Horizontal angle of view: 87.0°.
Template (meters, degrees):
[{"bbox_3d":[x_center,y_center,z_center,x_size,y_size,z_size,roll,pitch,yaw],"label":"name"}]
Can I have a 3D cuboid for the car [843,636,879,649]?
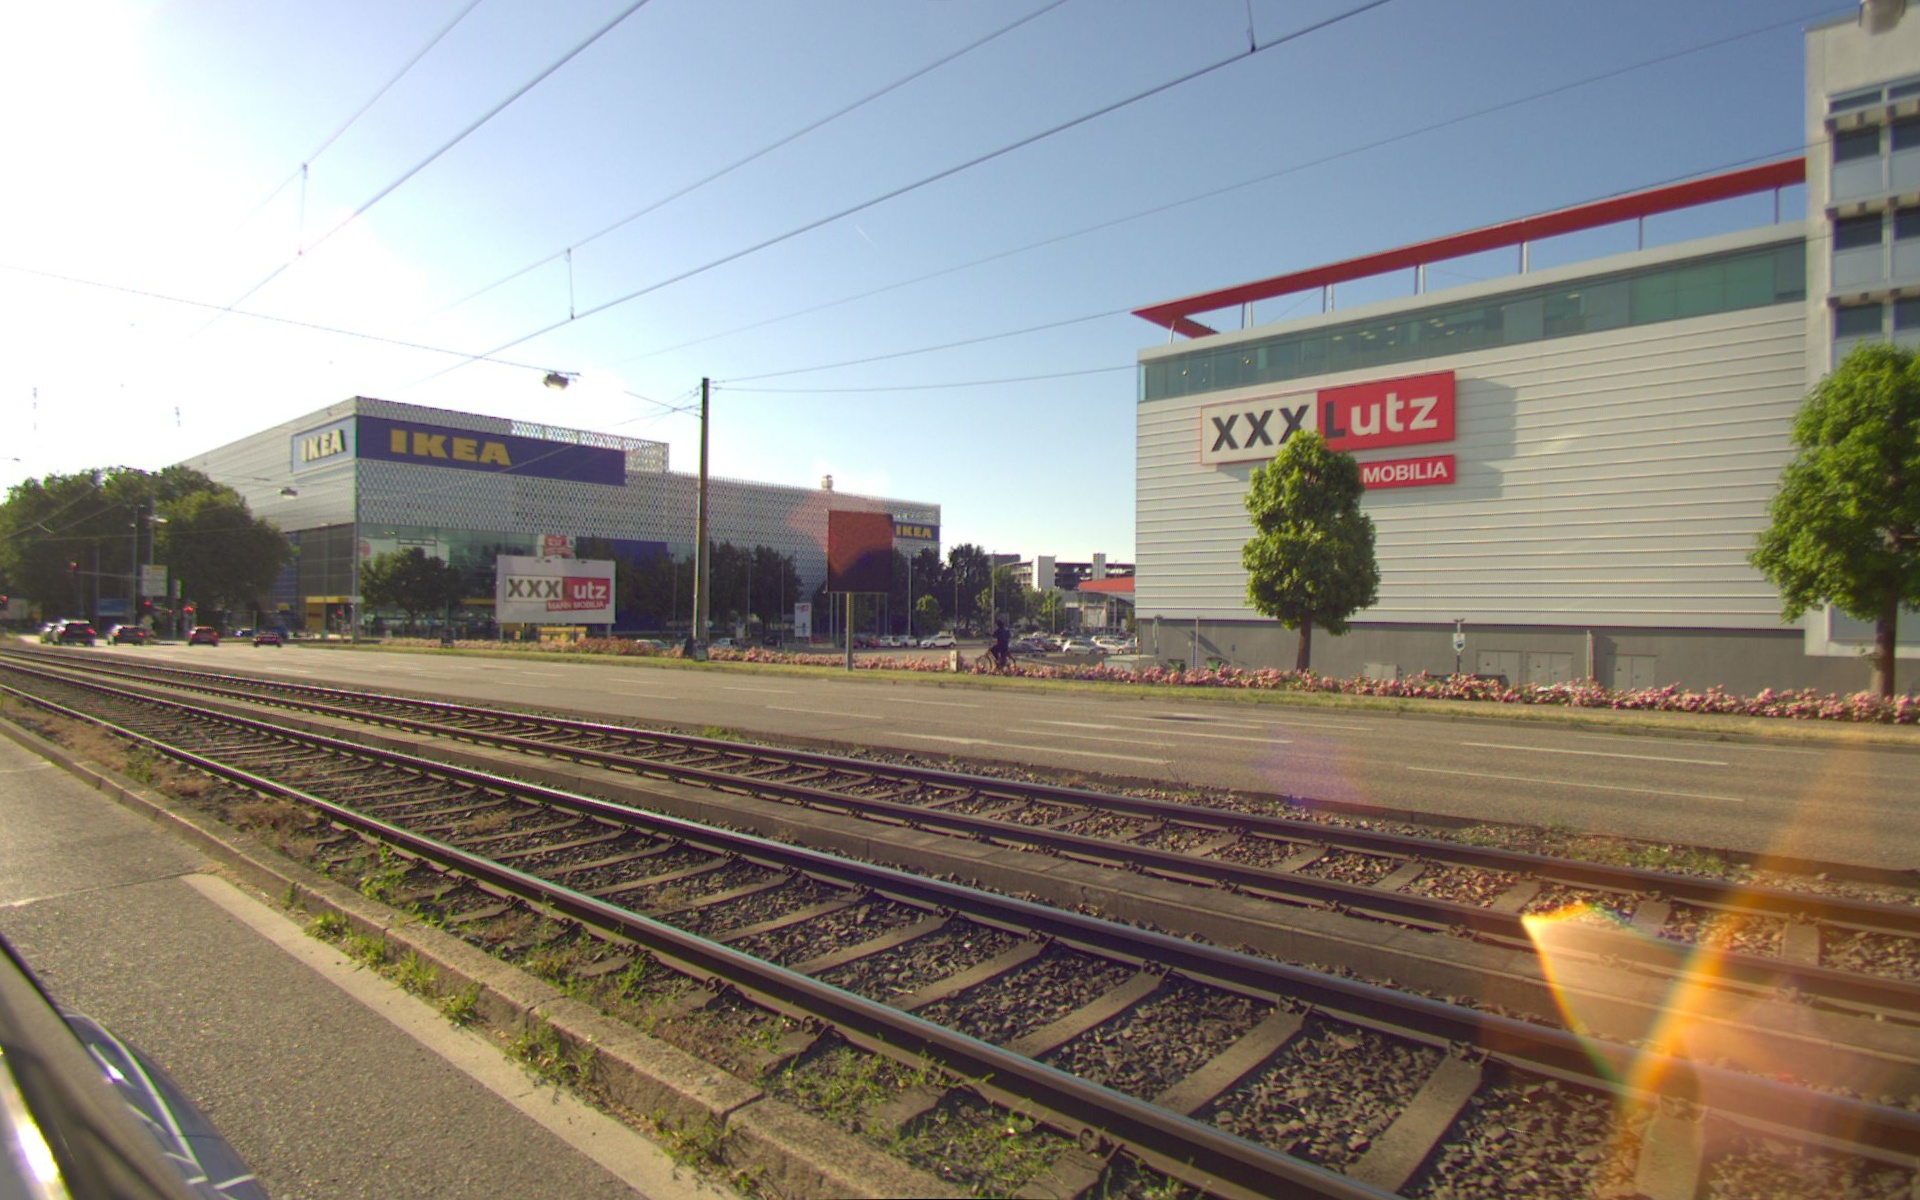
[{"bbox_3d":[-12.138,5.219,124.486,4.431,1.563,1.652,-1,1,37],"label":"car"}]

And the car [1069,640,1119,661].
[{"bbox_3d":[11.957,4.491,90.180,3.997,1.715,1.902,-1,1,40],"label":"car"}]

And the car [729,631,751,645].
[{"bbox_3d":[-27.734,4.781,127.489,1.876,1.580,4.262,-2,1,-25],"label":"car"}]

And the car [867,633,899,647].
[{"bbox_3d":[-9.838,5.077,128.887,3.999,1.668,1.705,-1,-2,42],"label":"car"}]

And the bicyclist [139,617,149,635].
[{"bbox_3d":[-69.482,2.240,86.156,0.751,1.534,0.581,-1,-1,42],"label":"bicyclist"}]

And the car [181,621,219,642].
[{"bbox_3d":[-57.015,2.351,75.899,1.911,1.488,4.138,4,-3,-41],"label":"car"}]

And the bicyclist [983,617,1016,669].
[{"bbox_3d":[1.302,1.396,33.189,0.653,1.635,0.802,-2,1,-40],"label":"bicyclist"}]

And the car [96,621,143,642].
[{"bbox_3d":[-60.288,2.243,72.596,4.133,1.472,1.838,-1,-2,39],"label":"car"}]

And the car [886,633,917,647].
[{"bbox_3d":[-7.564,5.141,130.755,3.999,1.668,1.777,-1,-2,42],"label":"car"}]

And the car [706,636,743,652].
[{"bbox_3d":[-25.910,4.780,111.281,3.994,1.605,1.912,-1,1,37],"label":"car"}]

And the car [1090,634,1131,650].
[{"bbox_3d":[16.452,4.603,110.561,3.994,1.631,1.856,-1,1,37],"label":"car"}]

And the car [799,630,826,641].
[{"bbox_3d":[-21.582,5.150,147.893,1.770,1.471,3.538,0,-3,39],"label":"car"}]

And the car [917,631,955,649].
[{"bbox_3d":[-2.883,4.756,120.575,4.157,1.813,1.832,-2,1,-29],"label":"car"}]

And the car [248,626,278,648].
[{"bbox_3d":[-53.930,2.849,78.349,1.796,1.655,4.010,2,-3,-35],"label":"car"}]

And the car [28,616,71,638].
[{"bbox_3d":[-64.298,1.901,71.464,4.106,1.459,1.764,-1,-3,42],"label":"car"}]

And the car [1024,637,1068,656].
[{"bbox_3d":[8.749,4.701,102.837,3.997,1.827,1.974,-1,1,40],"label":"car"}]

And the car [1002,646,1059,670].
[{"bbox_3d":[5.810,4.770,83.942,4.445,1.715,1.902,-1,1,40],"label":"car"}]

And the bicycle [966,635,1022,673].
[{"bbox_3d":[1.109,1.754,33.438,0.653,1.159,2.025,-2,1,-40],"label":"bicycle"}]

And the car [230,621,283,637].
[{"bbox_3d":[-72.293,3.011,104.043,4.194,1.509,2.017,4,-3,-44],"label":"car"}]

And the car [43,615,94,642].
[{"bbox_3d":[-58.823,1.863,66.748,4.657,1.668,1.972,-1,-3,42],"label":"car"}]

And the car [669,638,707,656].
[{"bbox_3d":[-28.849,4.926,107.297,3.994,1.758,1.912,-1,1,37],"label":"car"}]
